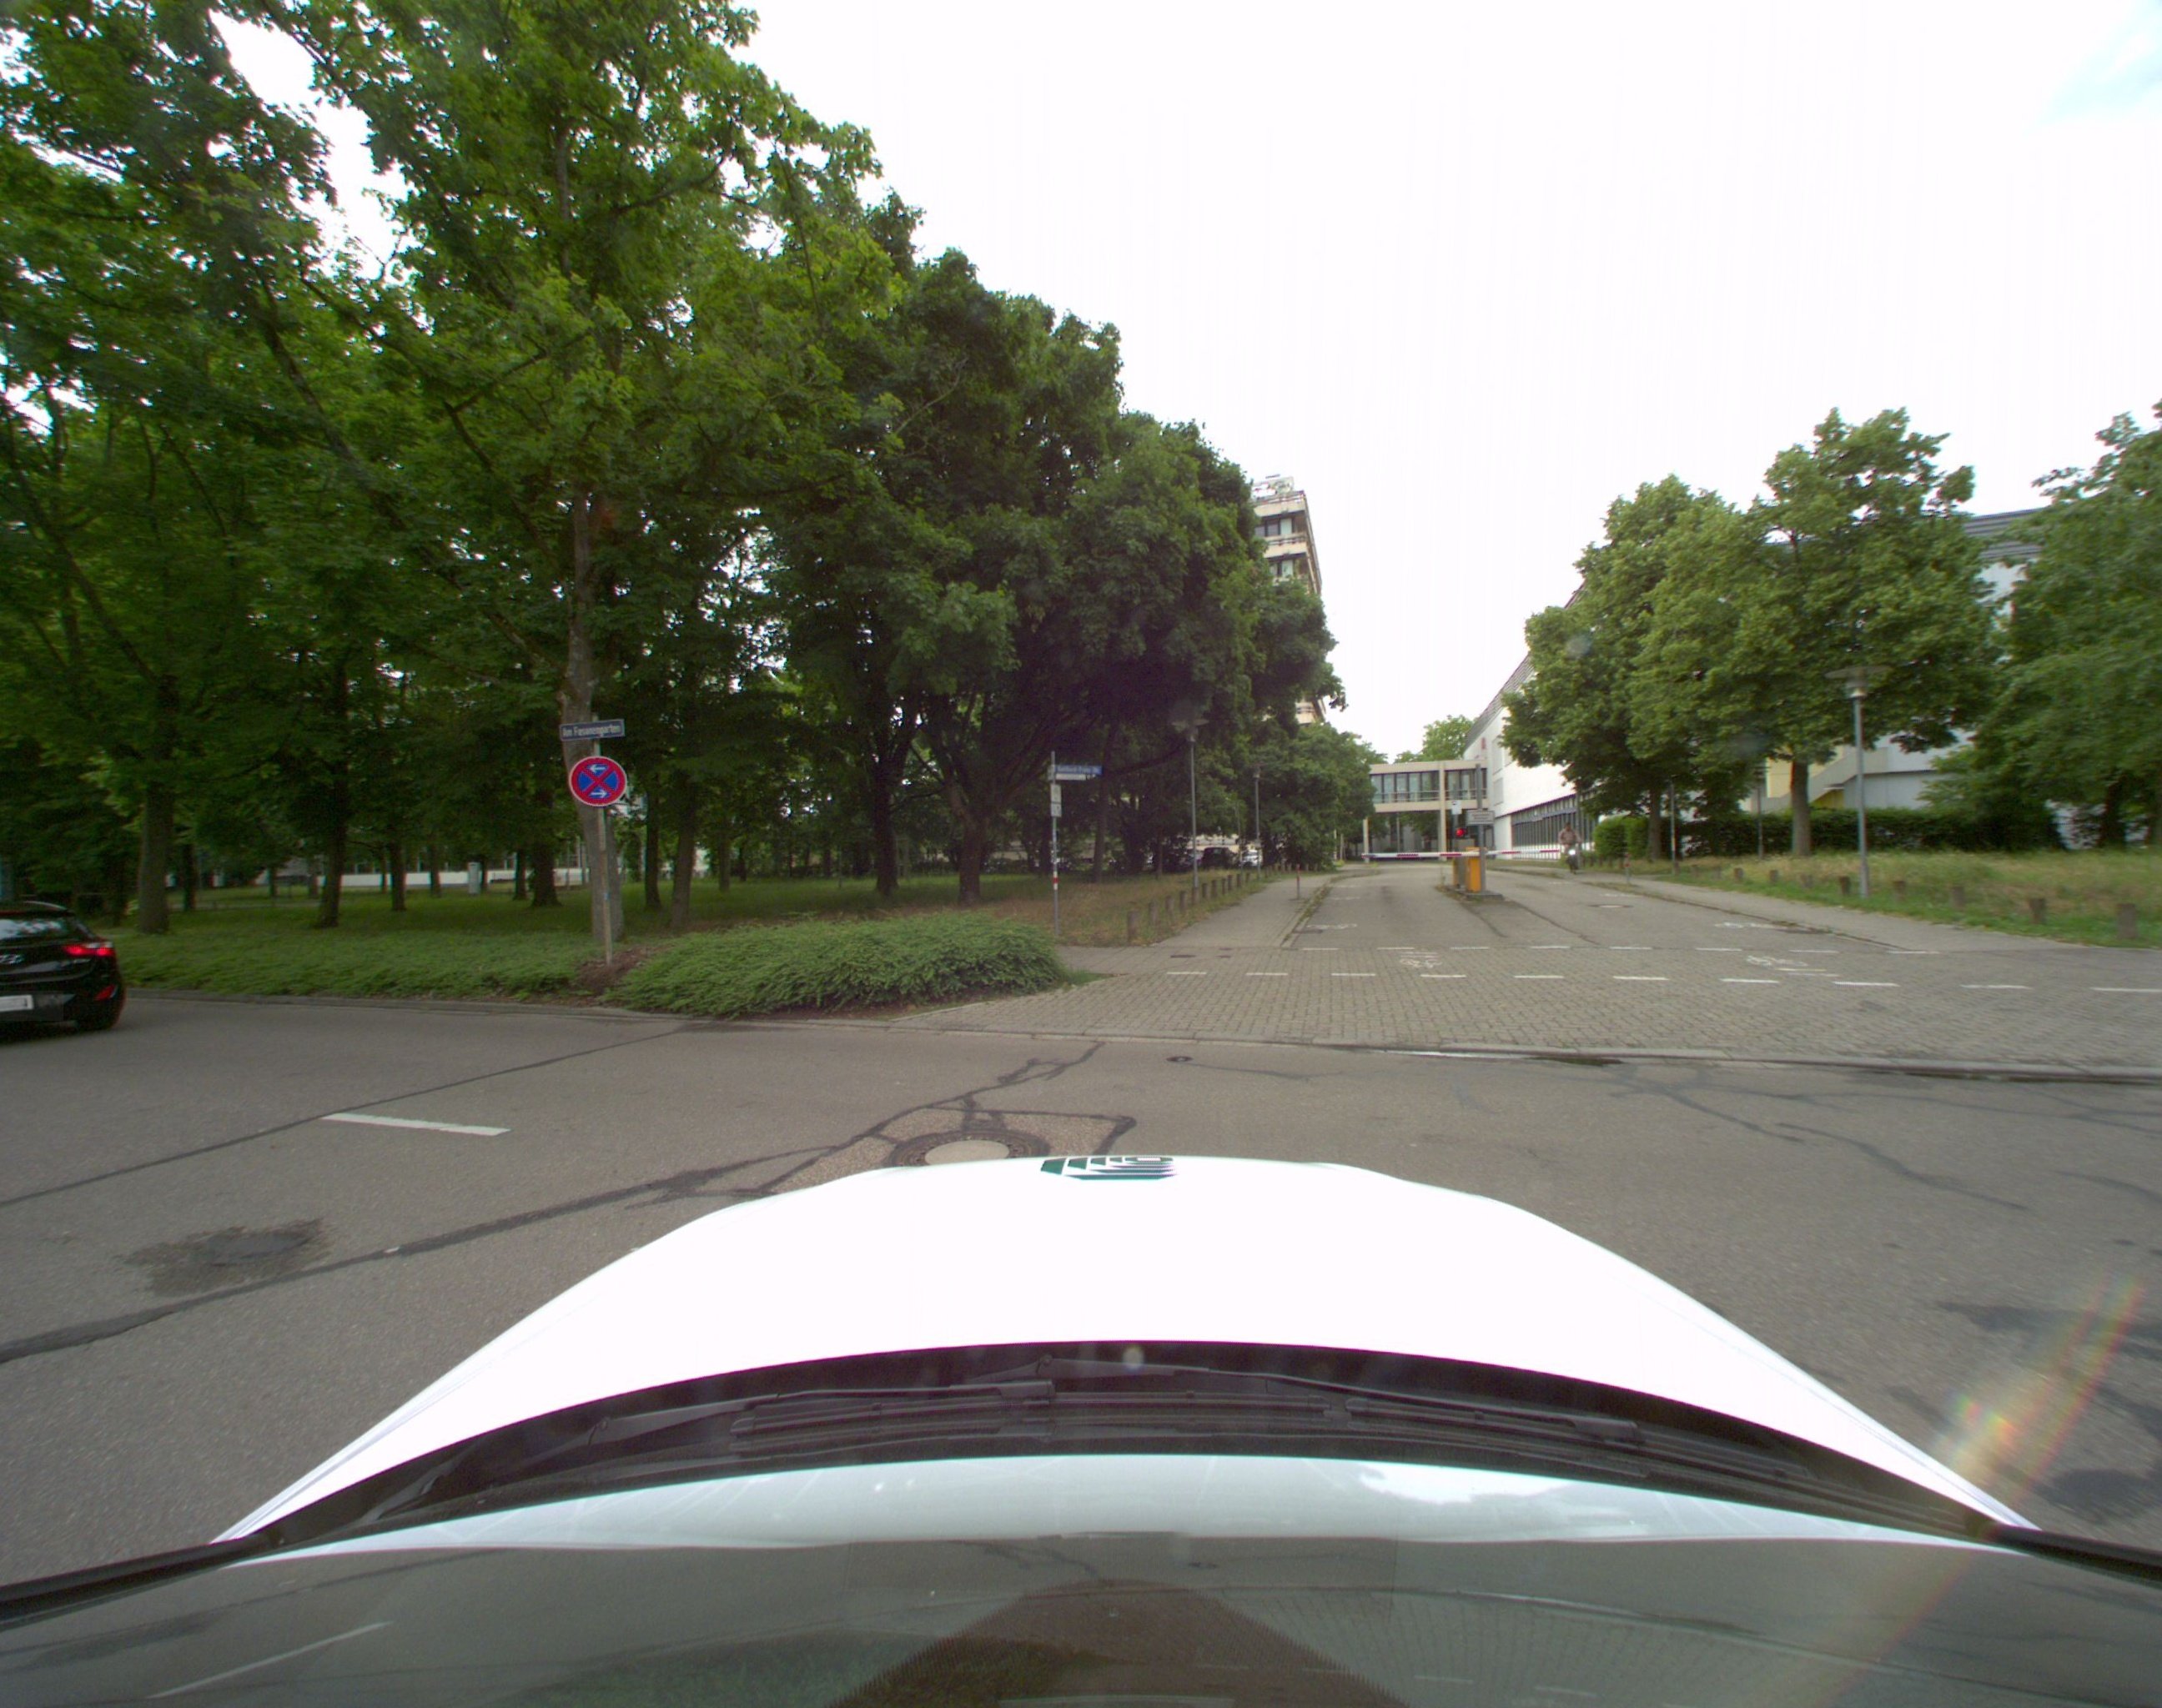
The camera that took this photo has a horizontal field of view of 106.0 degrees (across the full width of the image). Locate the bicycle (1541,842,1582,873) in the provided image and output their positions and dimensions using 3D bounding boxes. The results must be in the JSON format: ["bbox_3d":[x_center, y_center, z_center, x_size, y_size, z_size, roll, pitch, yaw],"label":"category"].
[{"bbox_3d":[17.315,0.114,29.392,0.859,1.074,2.152,-2,0,19],"label":"bicycle"}]

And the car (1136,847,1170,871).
[{"bbox_3d":[5.708,0.435,64.149,1.979,1.728,4.015,-2,-2,14],"label":"car"}]

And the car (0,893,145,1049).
[{"bbox_3d":[-12.199,1.195,8.560,3.783,1.462,1.861,-1,-1,20],"label":"car"}]

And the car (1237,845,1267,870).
[{"bbox_3d":[13.089,0.270,62.133,1.979,1.762,4.015,-2,-1,14],"label":"car"}]

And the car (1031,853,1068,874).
[{"bbox_3d":[-2.551,0.732,67.325,1.903,1.618,4.016,-2,0,14],"label":"car"}]

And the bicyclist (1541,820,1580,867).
[{"bbox_3d":[17.269,-0.364,29.376,1.009,1.644,0.928,-2,0,19],"label":"bicyclist"}]

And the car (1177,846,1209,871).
[{"bbox_3d":[8.739,0.369,63.499,1.979,1.794,4.015,-2,-2,14],"label":"car"}]

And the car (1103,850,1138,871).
[{"bbox_3d":[3.166,0.497,65.058,1.979,1.618,4.016,-2,0,14],"label":"car"}]
